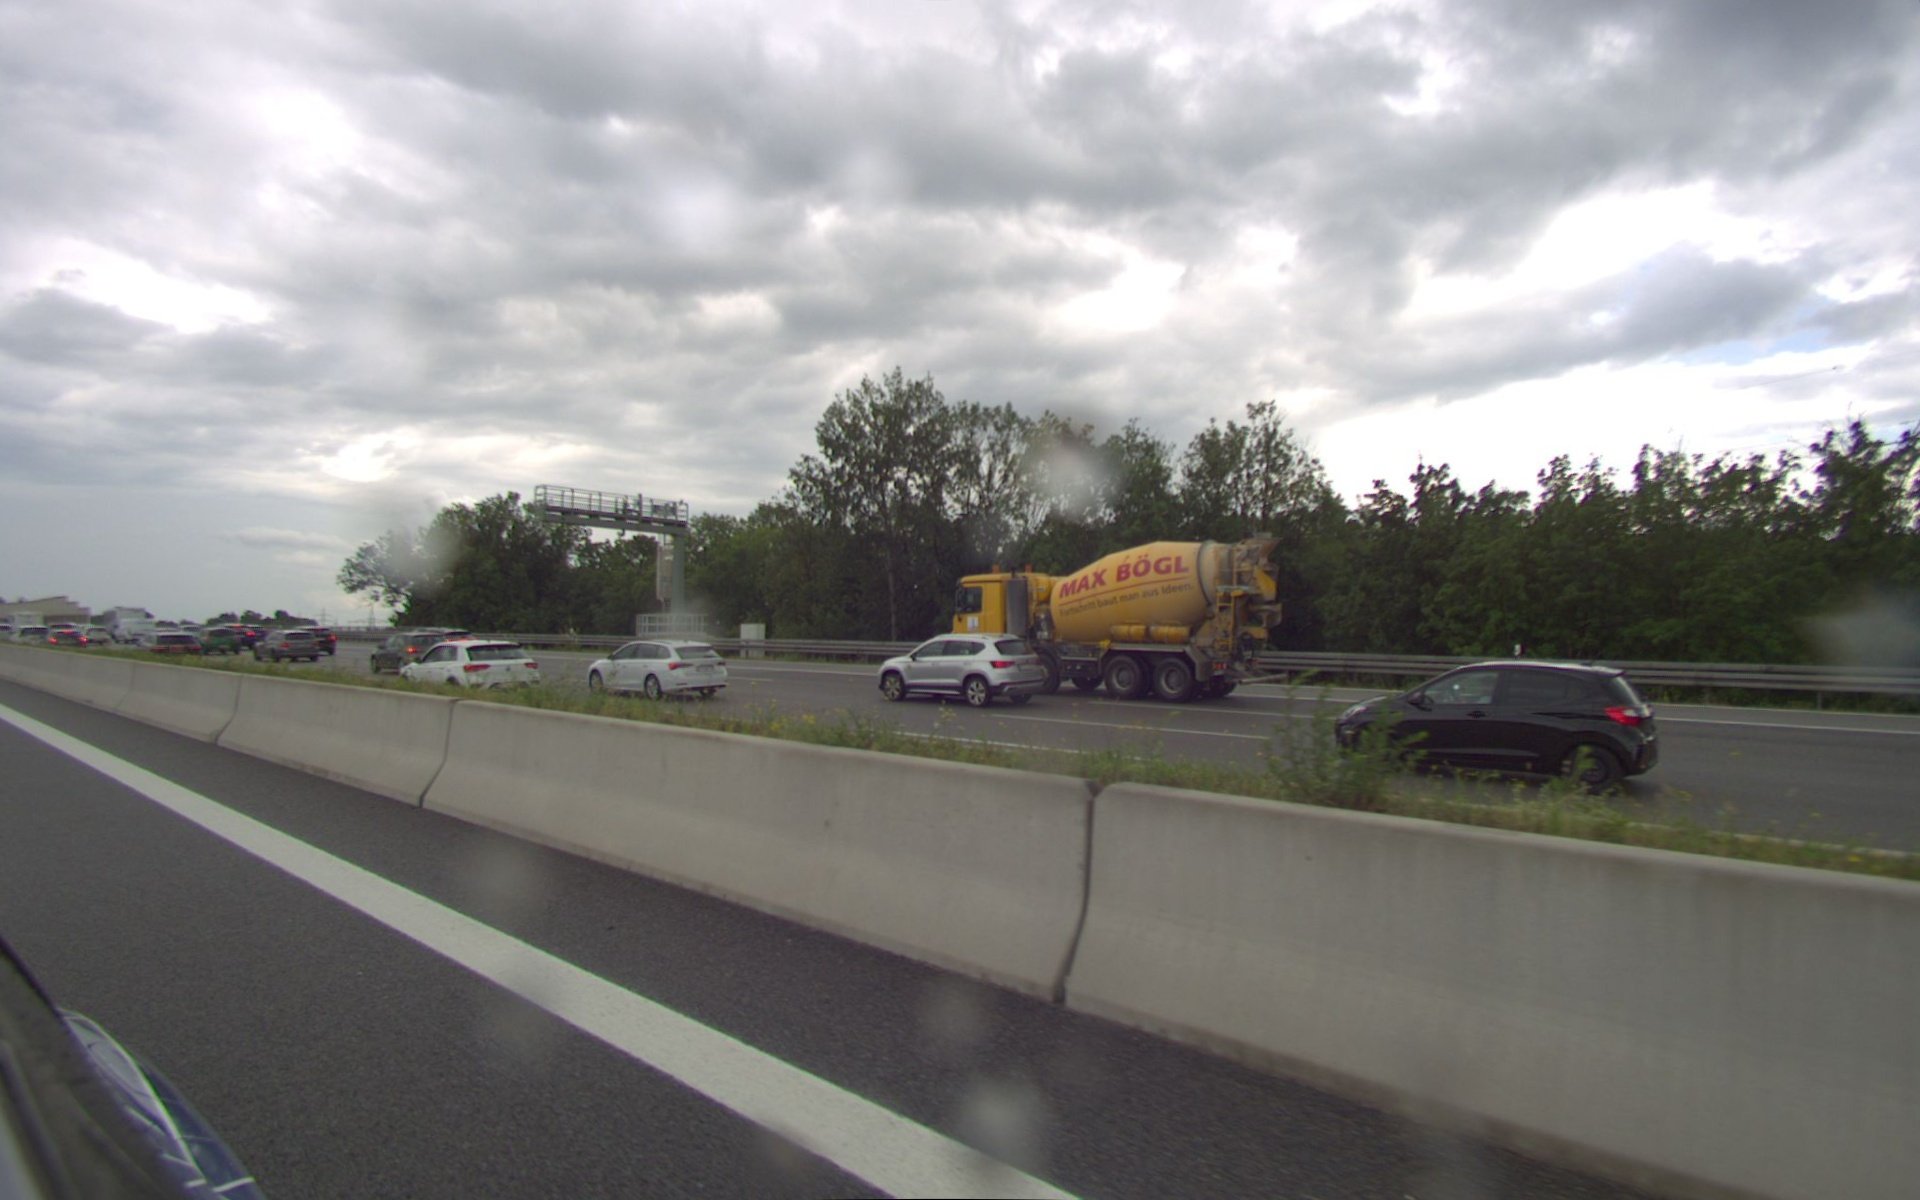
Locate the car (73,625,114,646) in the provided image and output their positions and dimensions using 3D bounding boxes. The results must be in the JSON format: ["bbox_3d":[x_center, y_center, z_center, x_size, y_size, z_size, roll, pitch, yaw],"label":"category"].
[{"bbox_3d":[-65.811,2.690,76.840,4.517,1.426,1.705,-1,0,42],"label":"car"}]

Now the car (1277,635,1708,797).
[{"bbox_3d":[6.681,1.321,13.058,4.643,1.615,1.705,-1,0,42],"label":"car"}]

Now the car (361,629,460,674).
[{"bbox_3d":[-20.045,1.822,36.845,4.517,1.439,1.705,-1,0,42],"label":"car"}]

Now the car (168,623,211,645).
[{"bbox_3d":[-55.113,2.399,72.380,3.958,1.489,1.705,-1,0,41],"label":"car"}]

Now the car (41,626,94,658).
[{"bbox_3d":[-51.497,2.395,58.373,4.991,1.658,1.705,-1,0,42],"label":"car"}]

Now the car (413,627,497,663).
[{"bbox_3d":[-22.151,1.928,44.303,4.517,1.439,1.705,-1,0,42],"label":"car"}]

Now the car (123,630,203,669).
[{"bbox_3d":[-33.447,2.035,42.413,5.228,1.439,1.705,-1,0,42],"label":"car"}]

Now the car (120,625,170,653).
[{"bbox_3d":[-51.413,2.421,63.817,4.517,1.658,1.705,-1,0,42],"label":"car"}]

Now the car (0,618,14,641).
[{"bbox_3d":[-74.935,2.280,78.532,5.060,1.658,1.705,-1,0,42],"label":"car"}]

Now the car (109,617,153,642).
[{"bbox_3d":[-66.896,2.343,81.602,5.542,1.951,1.671,-1,0,39],"label":"car"}]

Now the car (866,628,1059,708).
[{"bbox_3d":[-0.029,1.500,23.689,4.517,1.615,1.705,-1,0,42],"label":"car"}]

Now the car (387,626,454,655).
[{"bbox_3d":[-29.019,2.140,54.361,4.517,1.439,1.705,-1,0,42],"label":"car"}]

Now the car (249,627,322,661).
[{"bbox_3d":[-31.436,2.024,47.134,4.517,1.439,1.705,-1,0,42],"label":"car"}]

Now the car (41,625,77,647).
[{"bbox_3d":[-76.462,3.035,85.853,4.517,1.658,1.705,-1,0,42],"label":"car"}]

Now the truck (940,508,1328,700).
[{"bbox_3d":[3.995,0.157,25.555,9.578,4.045,2.885,-1,-1,41],"label":"truck"}]

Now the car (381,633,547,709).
[{"bbox_3d":[-11.382,1.540,23.075,4.646,1.439,1.705,-1,0,41],"label":"car"}]

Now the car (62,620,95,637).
[{"bbox_3d":[-83.178,2.653,95.445,5.017,1.467,1.705,-1,0,42],"label":"car"}]

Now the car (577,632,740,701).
[{"bbox_3d":[-7.784,1.627,25.859,4.847,1.481,1.705,-1,0,42],"label":"car"}]

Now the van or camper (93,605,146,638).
[{"bbox_3d":[-84.264,2.143,101.387,8.470,3.146,2.598,-1,0,40],"label":"van or camper"}]

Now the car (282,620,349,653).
[{"bbox_3d":[-35.313,1.943,55.409,5.234,1.658,1.705,-1,0,42],"label":"car"}]

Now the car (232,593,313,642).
[{"bbox_3d":[-48.938,1.222,71.937,7.933,3.264,2.701,-1,0,40],"label":"car"}]

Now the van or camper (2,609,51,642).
[{"bbox_3d":[-91.055,2.442,98.629,7.353,2.973,2.598,-1,0,40],"label":"van or camper"}]

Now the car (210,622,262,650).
[{"bbox_3d":[-46.088,2.267,64.423,4.517,1.658,1.705,-1,0,42],"label":"car"}]

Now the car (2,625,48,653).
[{"bbox_3d":[-61.079,2.494,66.052,4.996,1.658,1.705,-1,0,42],"label":"car"}]

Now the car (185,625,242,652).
[{"bbox_3d":[-41.666,2.120,56.441,4.200,1.429,1.705,-1,-2,42],"label":"car"}]
